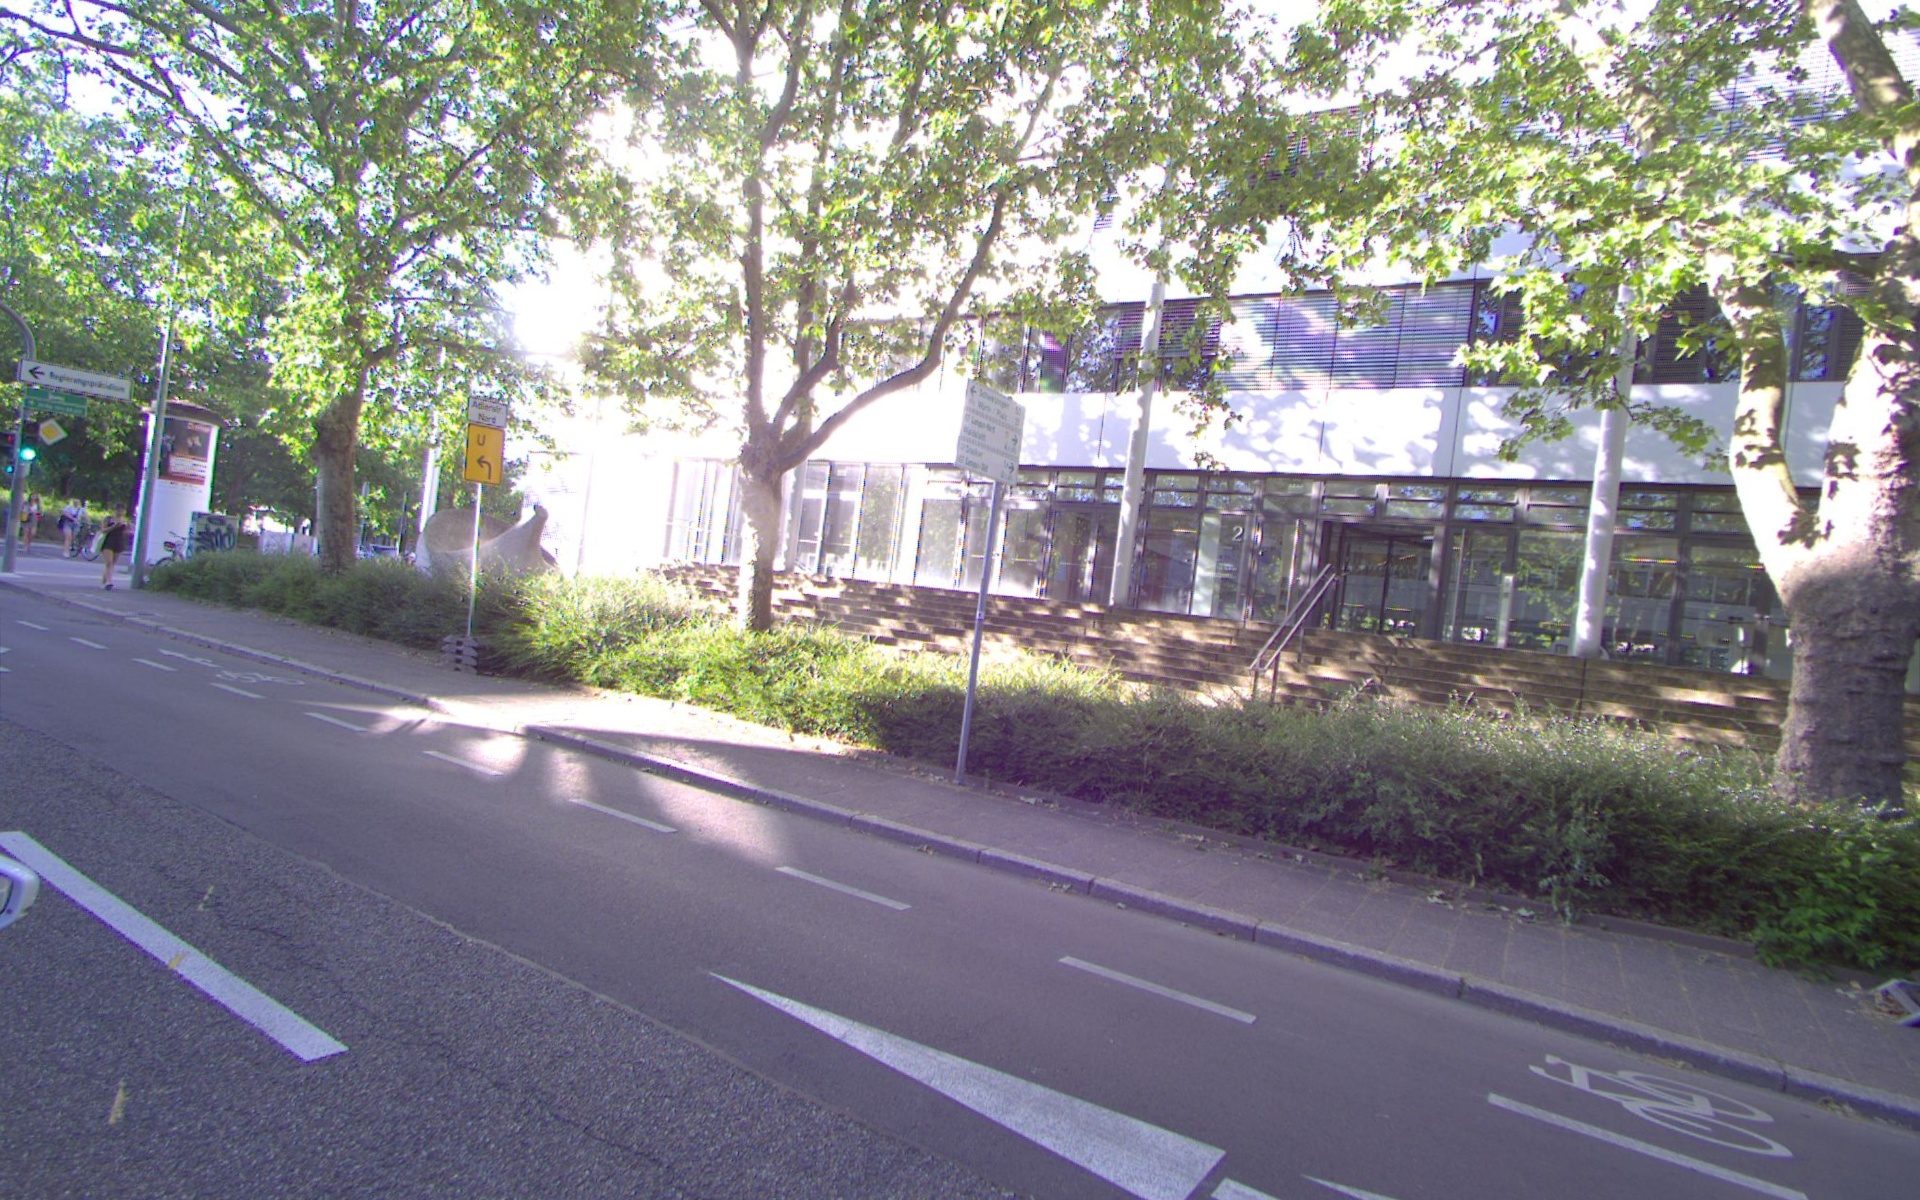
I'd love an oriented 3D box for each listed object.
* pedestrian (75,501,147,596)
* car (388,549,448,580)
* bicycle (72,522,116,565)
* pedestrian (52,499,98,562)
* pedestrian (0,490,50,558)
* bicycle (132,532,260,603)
[{"bbox_3d":[-15.701,-0.953,18.602,0.895,1.651,0.797,6,1,41],"label":"pedestrian"},{"bbox_3d":[-35.571,-2.336,65.979,3.732,1.500,1.633,6,-2,31],"label":"car"},{"bbox_3d":[-25.582,-1.669,29.699,1.715,1.113,0.524,6,-1,37],"label":"bicycle"},{"bbox_3d":[-25.859,-2.031,29.385,0.956,1.717,0.683,6,-1,38],"label":"pedestrian"},{"bbox_3d":[-26.463,-2.150,28.478,0.895,1.830,0.732,5,0,35],"label":"pedestrian"},{"bbox_3d":[-15.947,-0.660,21.064,0.519,1.203,1.980,7,-2,30],"label":"bicycle"}]
